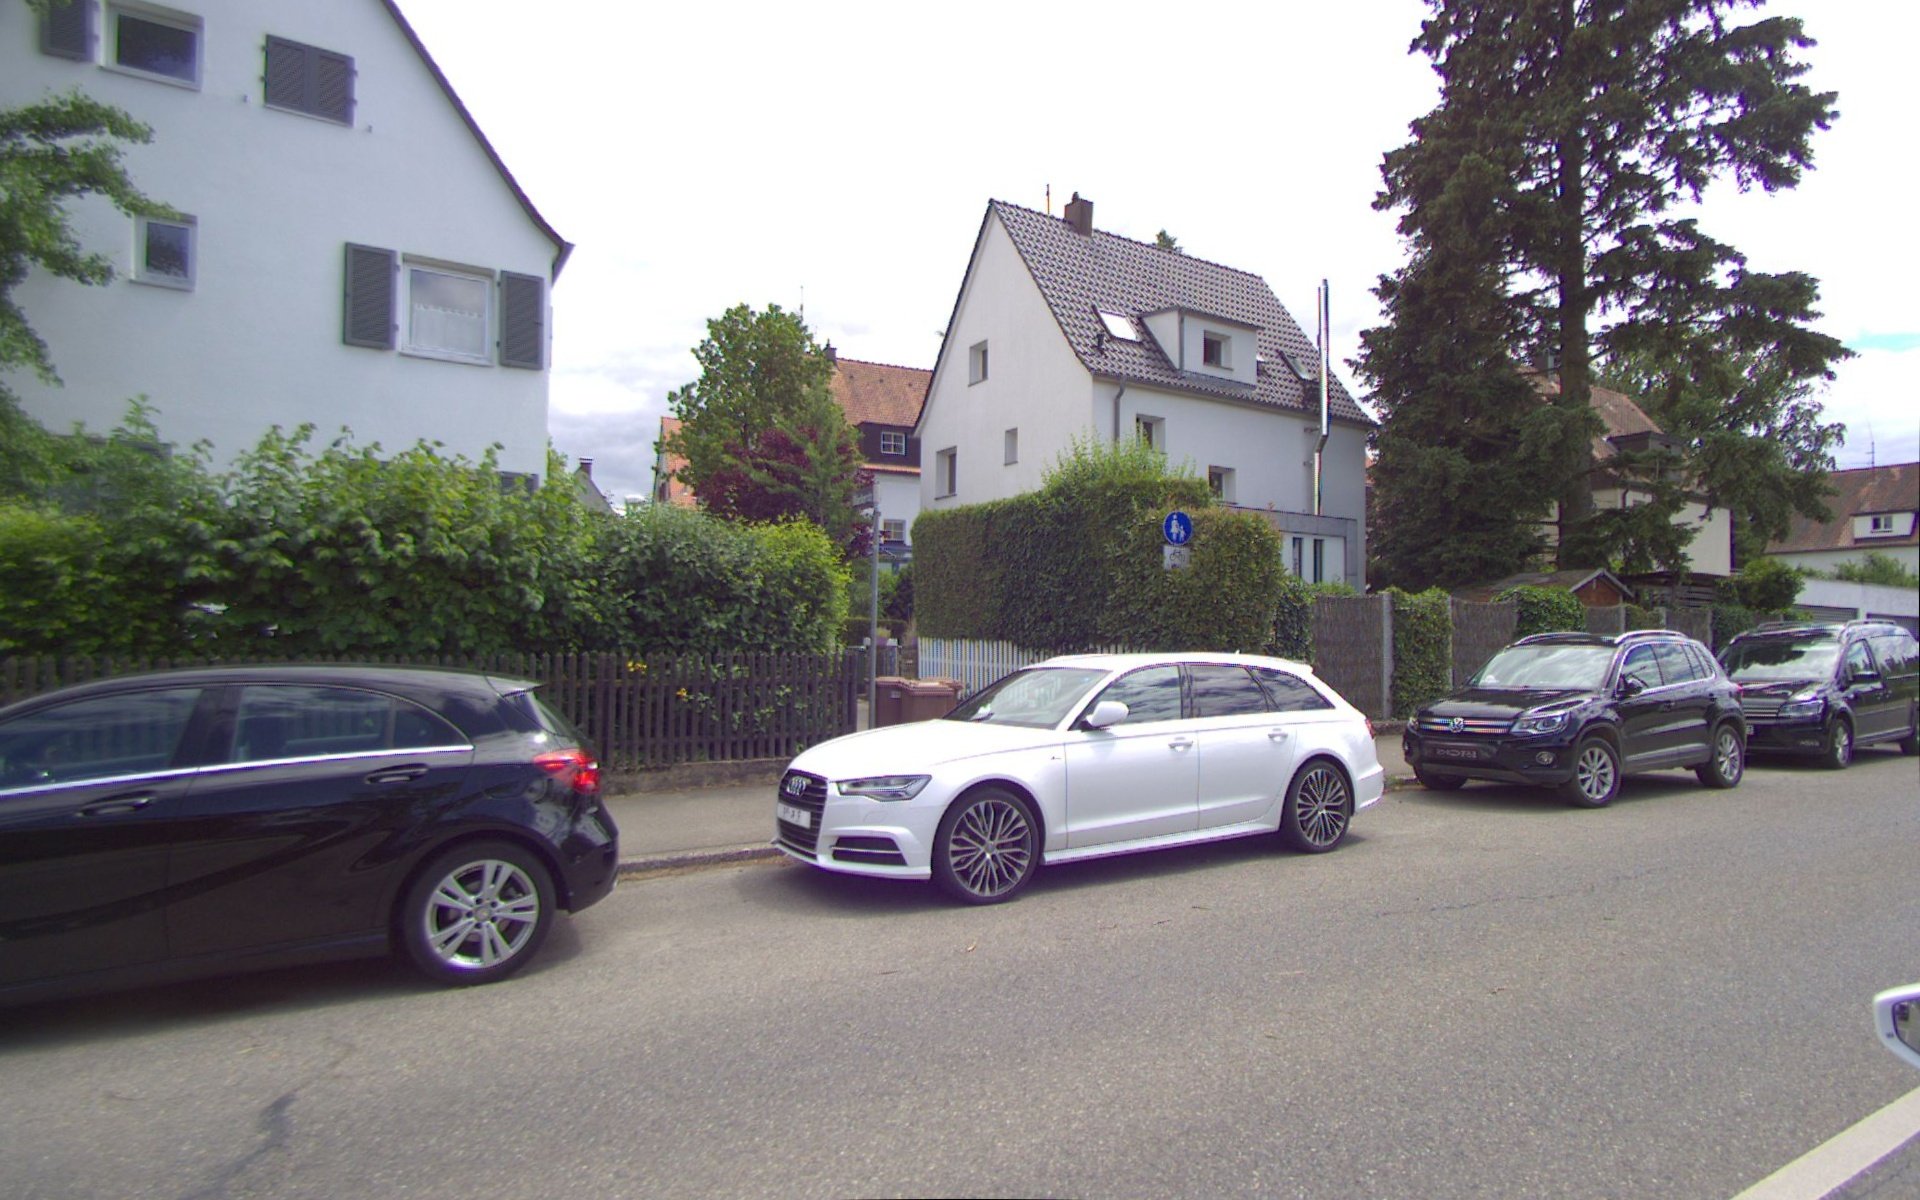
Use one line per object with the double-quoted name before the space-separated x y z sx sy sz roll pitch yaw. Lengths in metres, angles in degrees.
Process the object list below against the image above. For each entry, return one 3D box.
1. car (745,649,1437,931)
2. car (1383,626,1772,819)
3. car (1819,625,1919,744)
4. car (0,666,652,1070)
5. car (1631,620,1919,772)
"car" 1.109 1.131 7.444 5.007 1.478 1.798 1 -4 -29
"car" 6.713 1.175 10.782 4.531 1.700 1.619 1 -4 -31
"car" 16.744 1.358 17.028 4.654 1.843 1.975 1 -2 -31
"car" -3.754 1.051 4.554 4.270 1.429 1.736 1 -3 -29
"car" 11.739 1.221 14.103 4.829 1.778 2.056 2 -1 -32
